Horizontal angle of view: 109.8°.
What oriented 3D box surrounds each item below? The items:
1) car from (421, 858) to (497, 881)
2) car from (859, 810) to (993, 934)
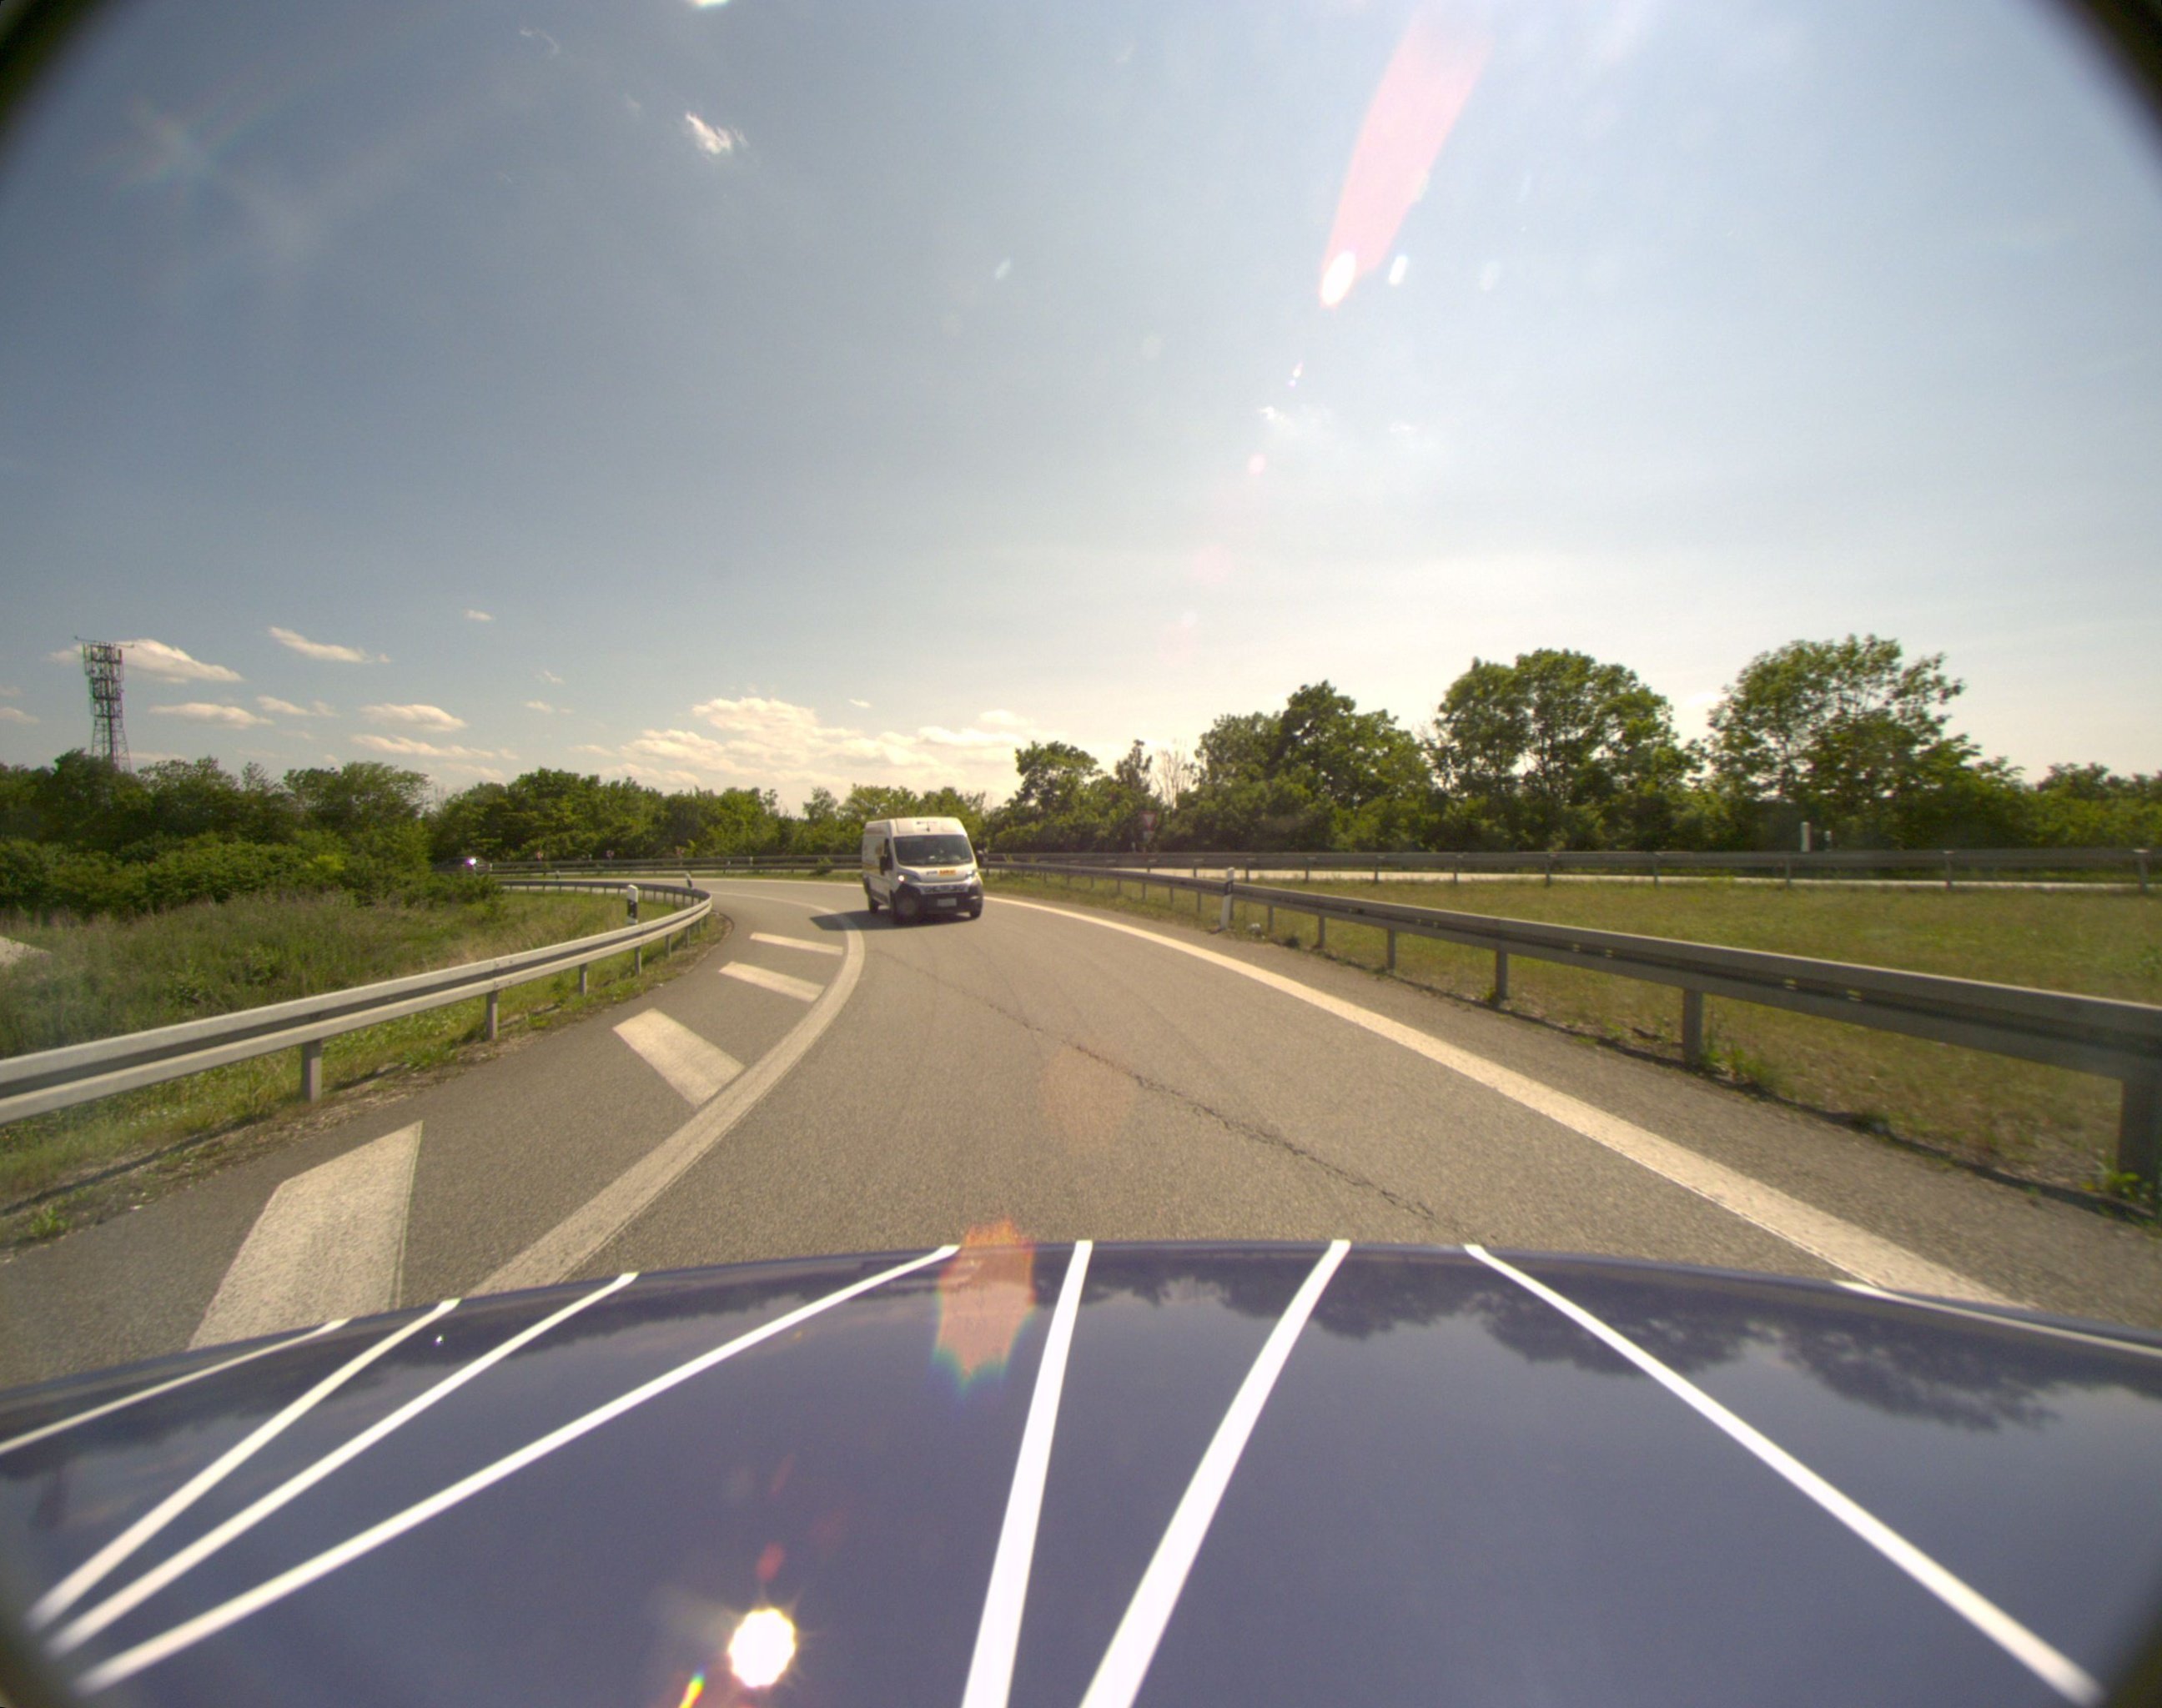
[{"bbox_3d":[-54.579,1.350,66.726,5.190,1.721,2.000,-2,3,8],"label":"car"},{"bbox_3d":[-4.195,0.326,19.496,2.090,2.510,6.224,-6,3,-22],"label":"car"}]
